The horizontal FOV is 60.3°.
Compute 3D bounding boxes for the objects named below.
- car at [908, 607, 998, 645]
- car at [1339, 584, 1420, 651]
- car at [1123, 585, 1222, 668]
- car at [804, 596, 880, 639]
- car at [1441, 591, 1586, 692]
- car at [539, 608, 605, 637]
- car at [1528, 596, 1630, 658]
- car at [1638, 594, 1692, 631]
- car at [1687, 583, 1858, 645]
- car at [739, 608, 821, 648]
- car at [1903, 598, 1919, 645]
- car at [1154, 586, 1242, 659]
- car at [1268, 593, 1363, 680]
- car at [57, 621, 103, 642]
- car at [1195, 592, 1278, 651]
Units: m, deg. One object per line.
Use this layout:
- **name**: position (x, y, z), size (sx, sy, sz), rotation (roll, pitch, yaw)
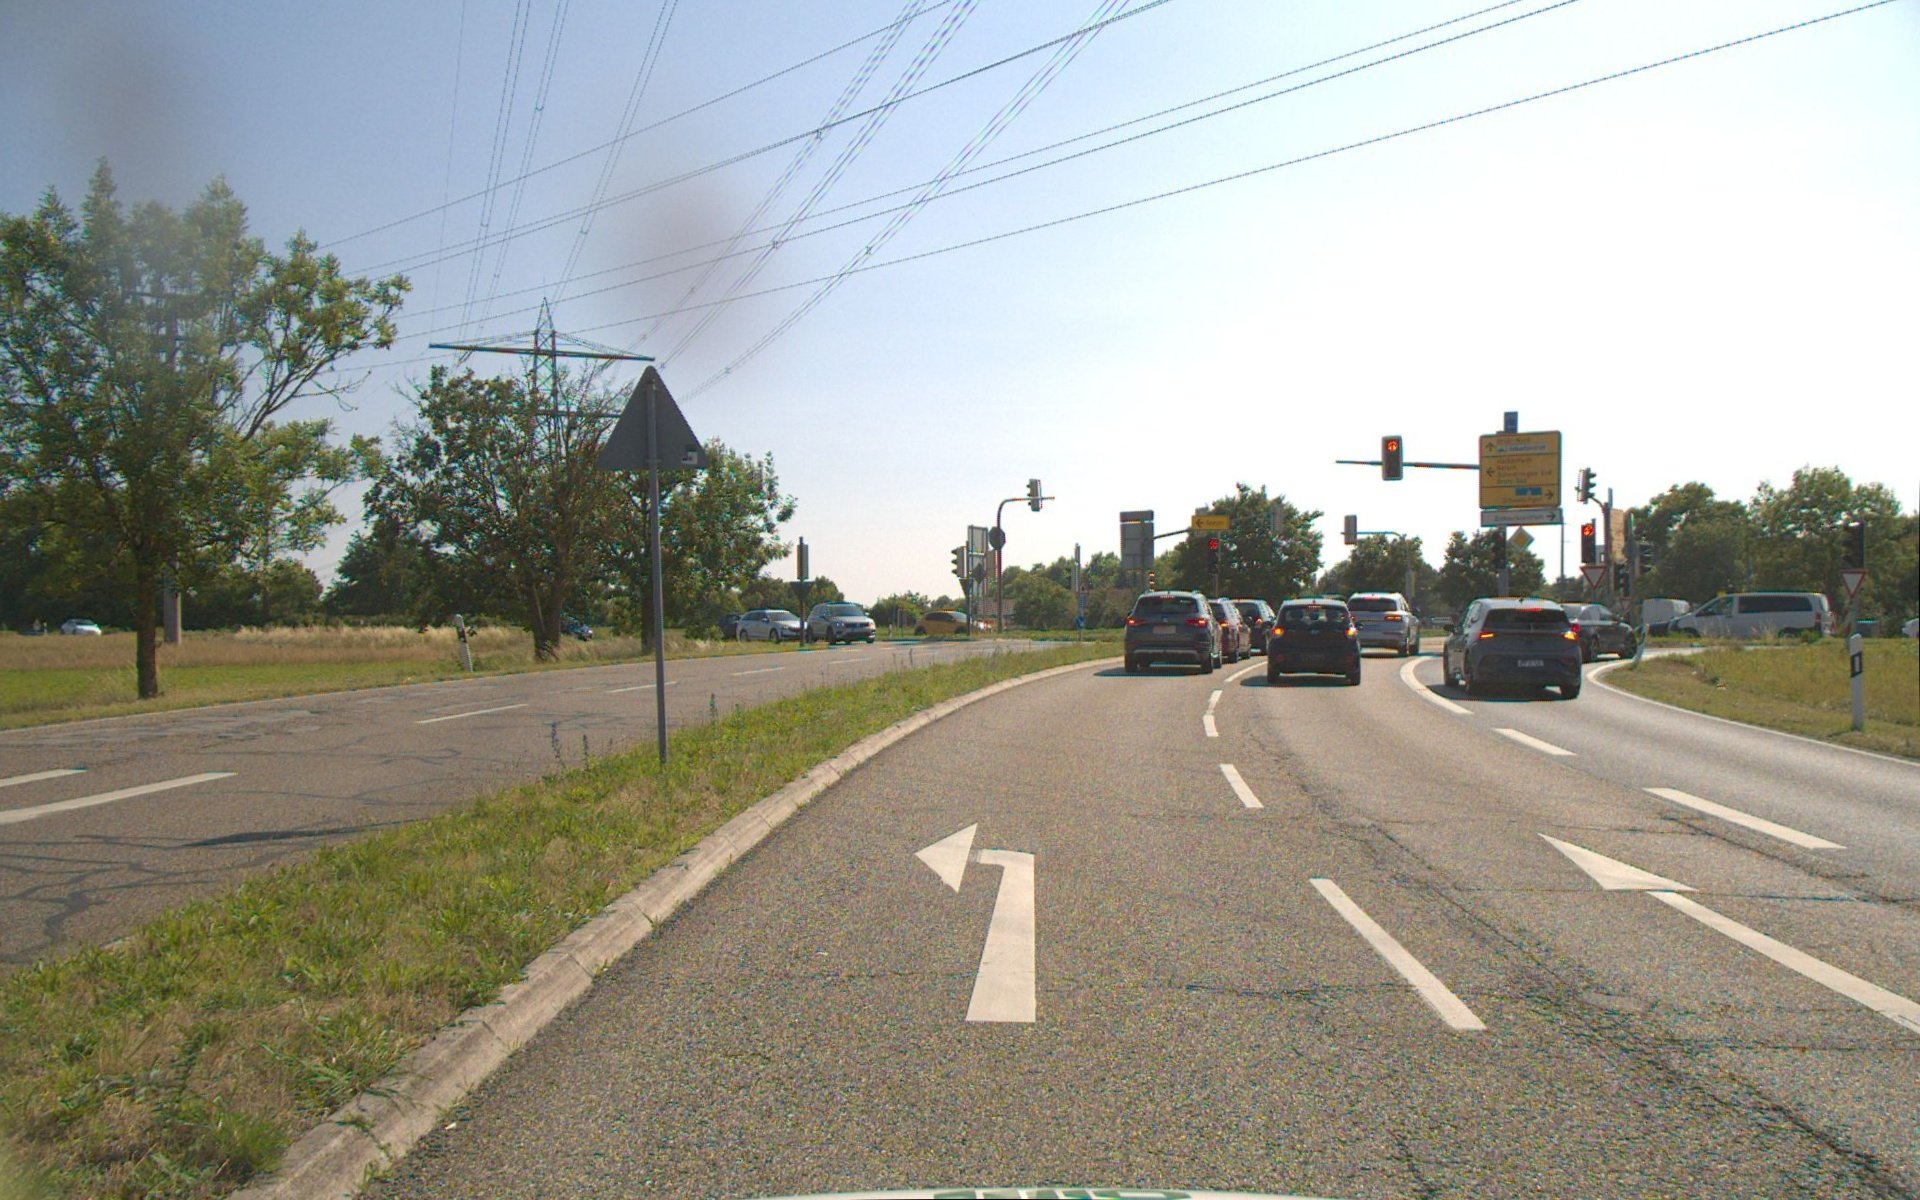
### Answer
- **car**: position (-0.346, 1.182, 76.132), size (3.927, 1.680, 1.810), rotation (-1, -1, 41)
- **car**: position (11.344, 0.466, 44.590), size (1.599, 1.706, 3.749), rotation (1, 0, 22)
- **car**: position (4.404, 0.523, 33.880), size (1.705, 1.596, 3.627), rotation (0, 0, 12)
- **car**: position (-4.739, 0.703, 65.954), size (1.790, 1.680, 3.970), rotation (0, -1, -24)
- **car**: position (9.200, 0.634, 27.776), size (1.735, 1.544, 4.103), rotation (0, 0, 10)
- **car**: position (-22.698, 1.318, 96.622), size (3.927, 1.680, 1.810), rotation (-1, -1, 41)
- **car**: position (15.405, 0.635, 41.059), size (1.612, 1.410, 3.990), rotation (-1, 0, 32)
- **car**: position (43.718, 0.771, 102.561), size (1.899, 2.174, 4.617), rotation (1, 0, 39)
- **car**: position (27.247, 0.430, 55.519), size (4.853, 1.951, 1.991), rotation (1, 0, 39)
- **car**: position (-7.847, 1.210, 71.832), size (1.800, 1.680, 3.948), rotation (0, -1, -36)
- **car**: position (33.554, 0.701, 54.360), size (4.252, 1.545, 1.799), rotation (-1, -1, 39)
- **car**: position (5.666, 0.520, 39.081), size (1.705, 1.596, 3.627), rotation (1, 0, 13)
- **car**: position (6.511, 0.636, 30.367), size (1.598, 1.473, 3.297), rotation (1, 0, 12)
- **car**: position (-72.954, 2.583, 137.106), size (4.674, 1.680, 1.810), rotation (0, -1, 41)
- **car**: position (7.596, 0.589, 45.178), size (1.705, 1.510, 3.626), rotation (1, 0, 18)
